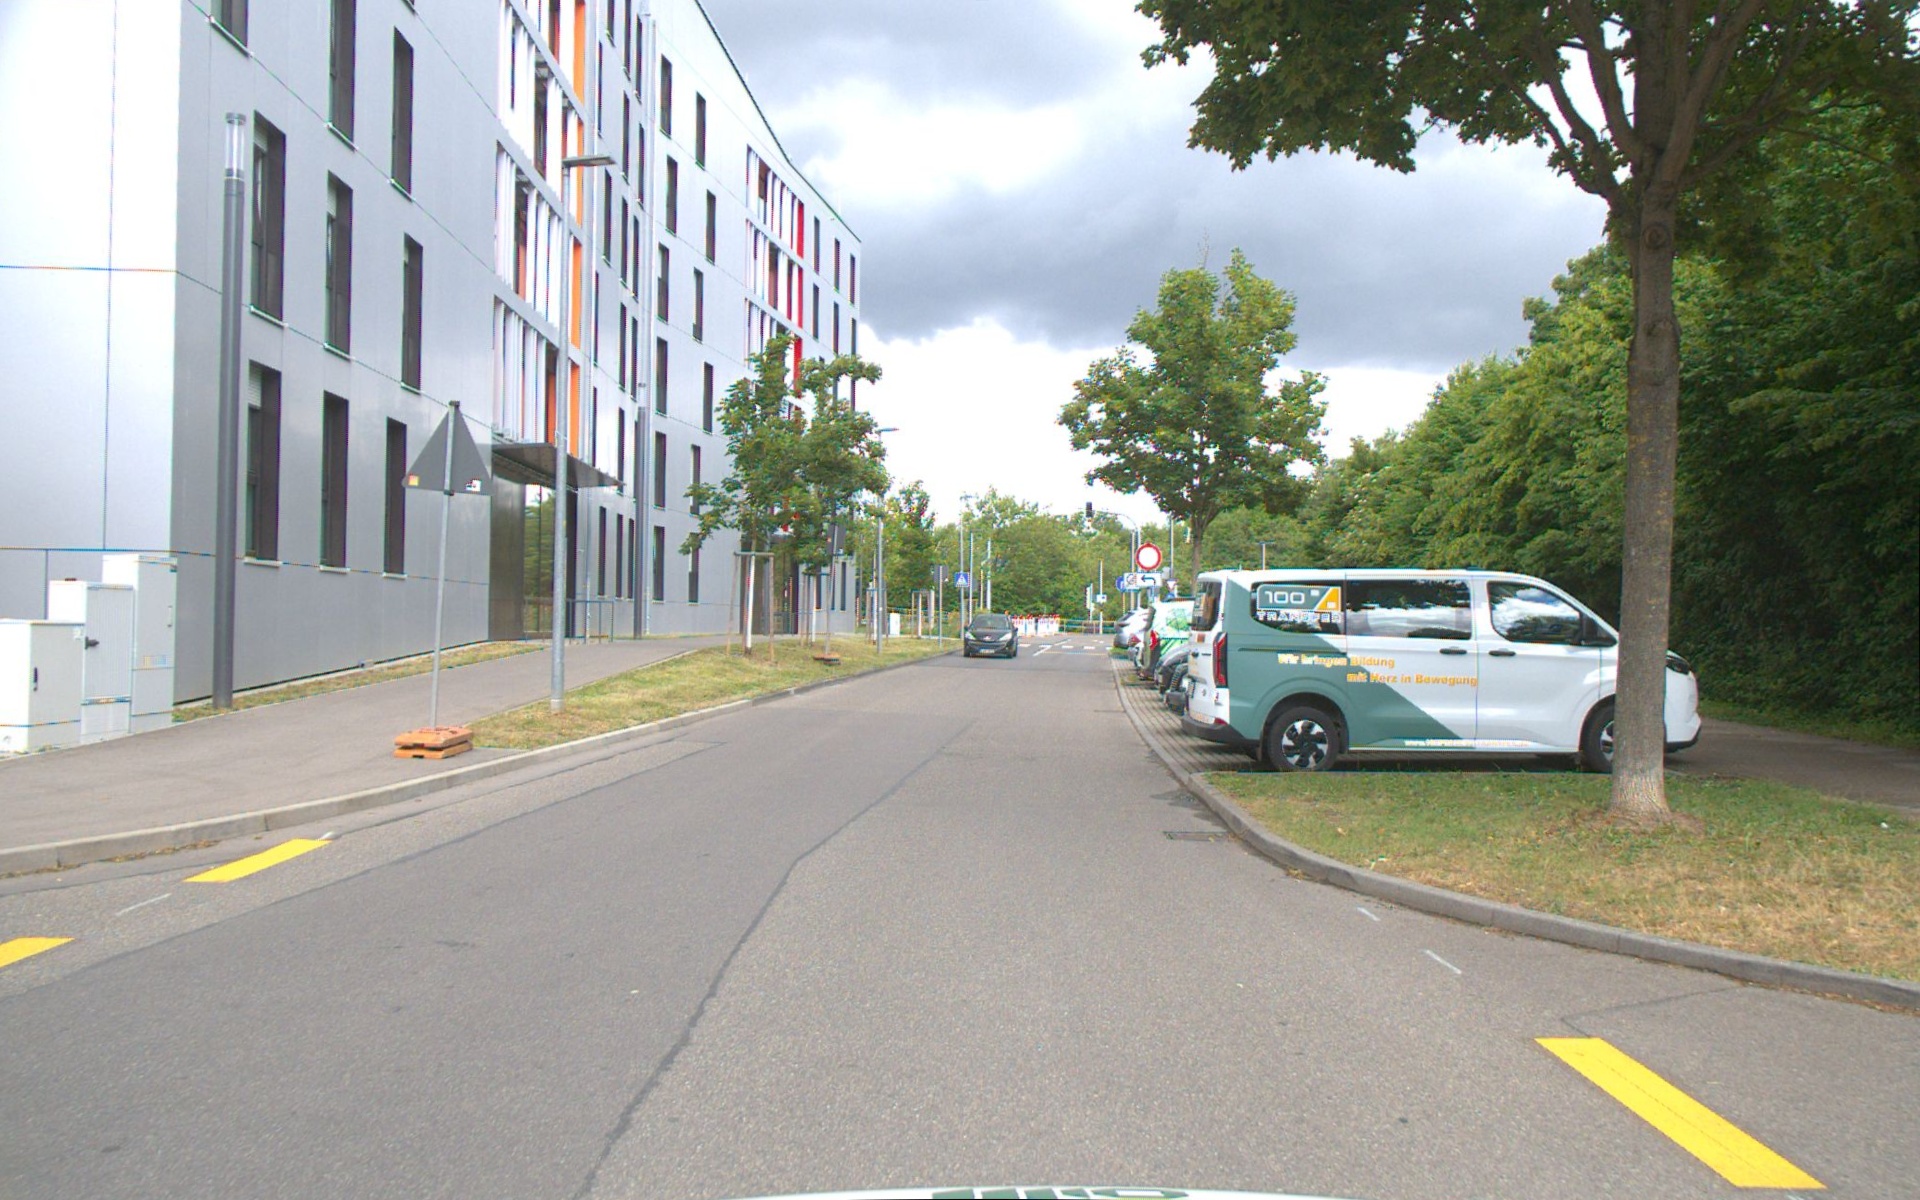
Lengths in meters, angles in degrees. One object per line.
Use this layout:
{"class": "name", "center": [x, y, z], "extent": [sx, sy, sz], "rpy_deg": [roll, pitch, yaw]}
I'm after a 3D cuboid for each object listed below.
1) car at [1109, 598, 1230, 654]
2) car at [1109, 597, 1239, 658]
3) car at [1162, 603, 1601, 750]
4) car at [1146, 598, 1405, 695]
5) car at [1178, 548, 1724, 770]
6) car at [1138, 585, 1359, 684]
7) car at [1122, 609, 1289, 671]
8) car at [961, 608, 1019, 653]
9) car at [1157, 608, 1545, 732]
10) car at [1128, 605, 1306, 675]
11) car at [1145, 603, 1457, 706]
{"class": "car", "center": [7.754, 0.943, 61.567], "extent": [4.287, 1.937, 1.917], "rpy_deg": [2, 0, 3]}
{"class": "car", "center": [7.365, 0.930, 57.176], "extent": [4.287, 1.937, 1.917], "rpy_deg": [2, 0, 3]}
{"class": "car", "center": [4.715, 0.839, 19.028], "extent": [4.605, 1.543, 1.847], "rpy_deg": [-1, 0, 3]}
{"class": "car", "center": [5.528, 0.810, 29.400], "extent": [4.287, 1.604, 1.917], "rpy_deg": [-1, 0, 3]}
{"class": "car", "center": [4.749, 0.554, 16.472], "extent": [4.871, 2.007, 1.846], "rpy_deg": [-1, 0, -1]}
{"class": "car", "center": [5.897, 0.703, 34.258], "extent": [4.287, 1.937, 1.917], "rpy_deg": [-1, 0, 3]}
{"class": "car", "center": [6.616, 1.076, 44.942], "extent": [4.287, 1.501, 1.917], "rpy_deg": [2, 0, 3]}
{"class": "car", "center": [1.041, 1.007, 55.545], "extent": [1.575, 1.412, 4.002], "rpy_deg": [2, 0, 6]}
{"class": "car", "center": [4.949, 0.880, 21.531], "extent": [4.624, 1.459, 2.058], "rpy_deg": [-1, 0, 4]}
{"class": "car", "center": [6.500, 1.007, 42.153], "extent": [4.287, 1.601, 1.917], "rpy_deg": [2, -1, 3]}
{"class": "car", "center": [5.440, 0.855, 26.855], "extent": [4.628, 1.525, 2.111], "rpy_deg": [-1, 0, 0]}
